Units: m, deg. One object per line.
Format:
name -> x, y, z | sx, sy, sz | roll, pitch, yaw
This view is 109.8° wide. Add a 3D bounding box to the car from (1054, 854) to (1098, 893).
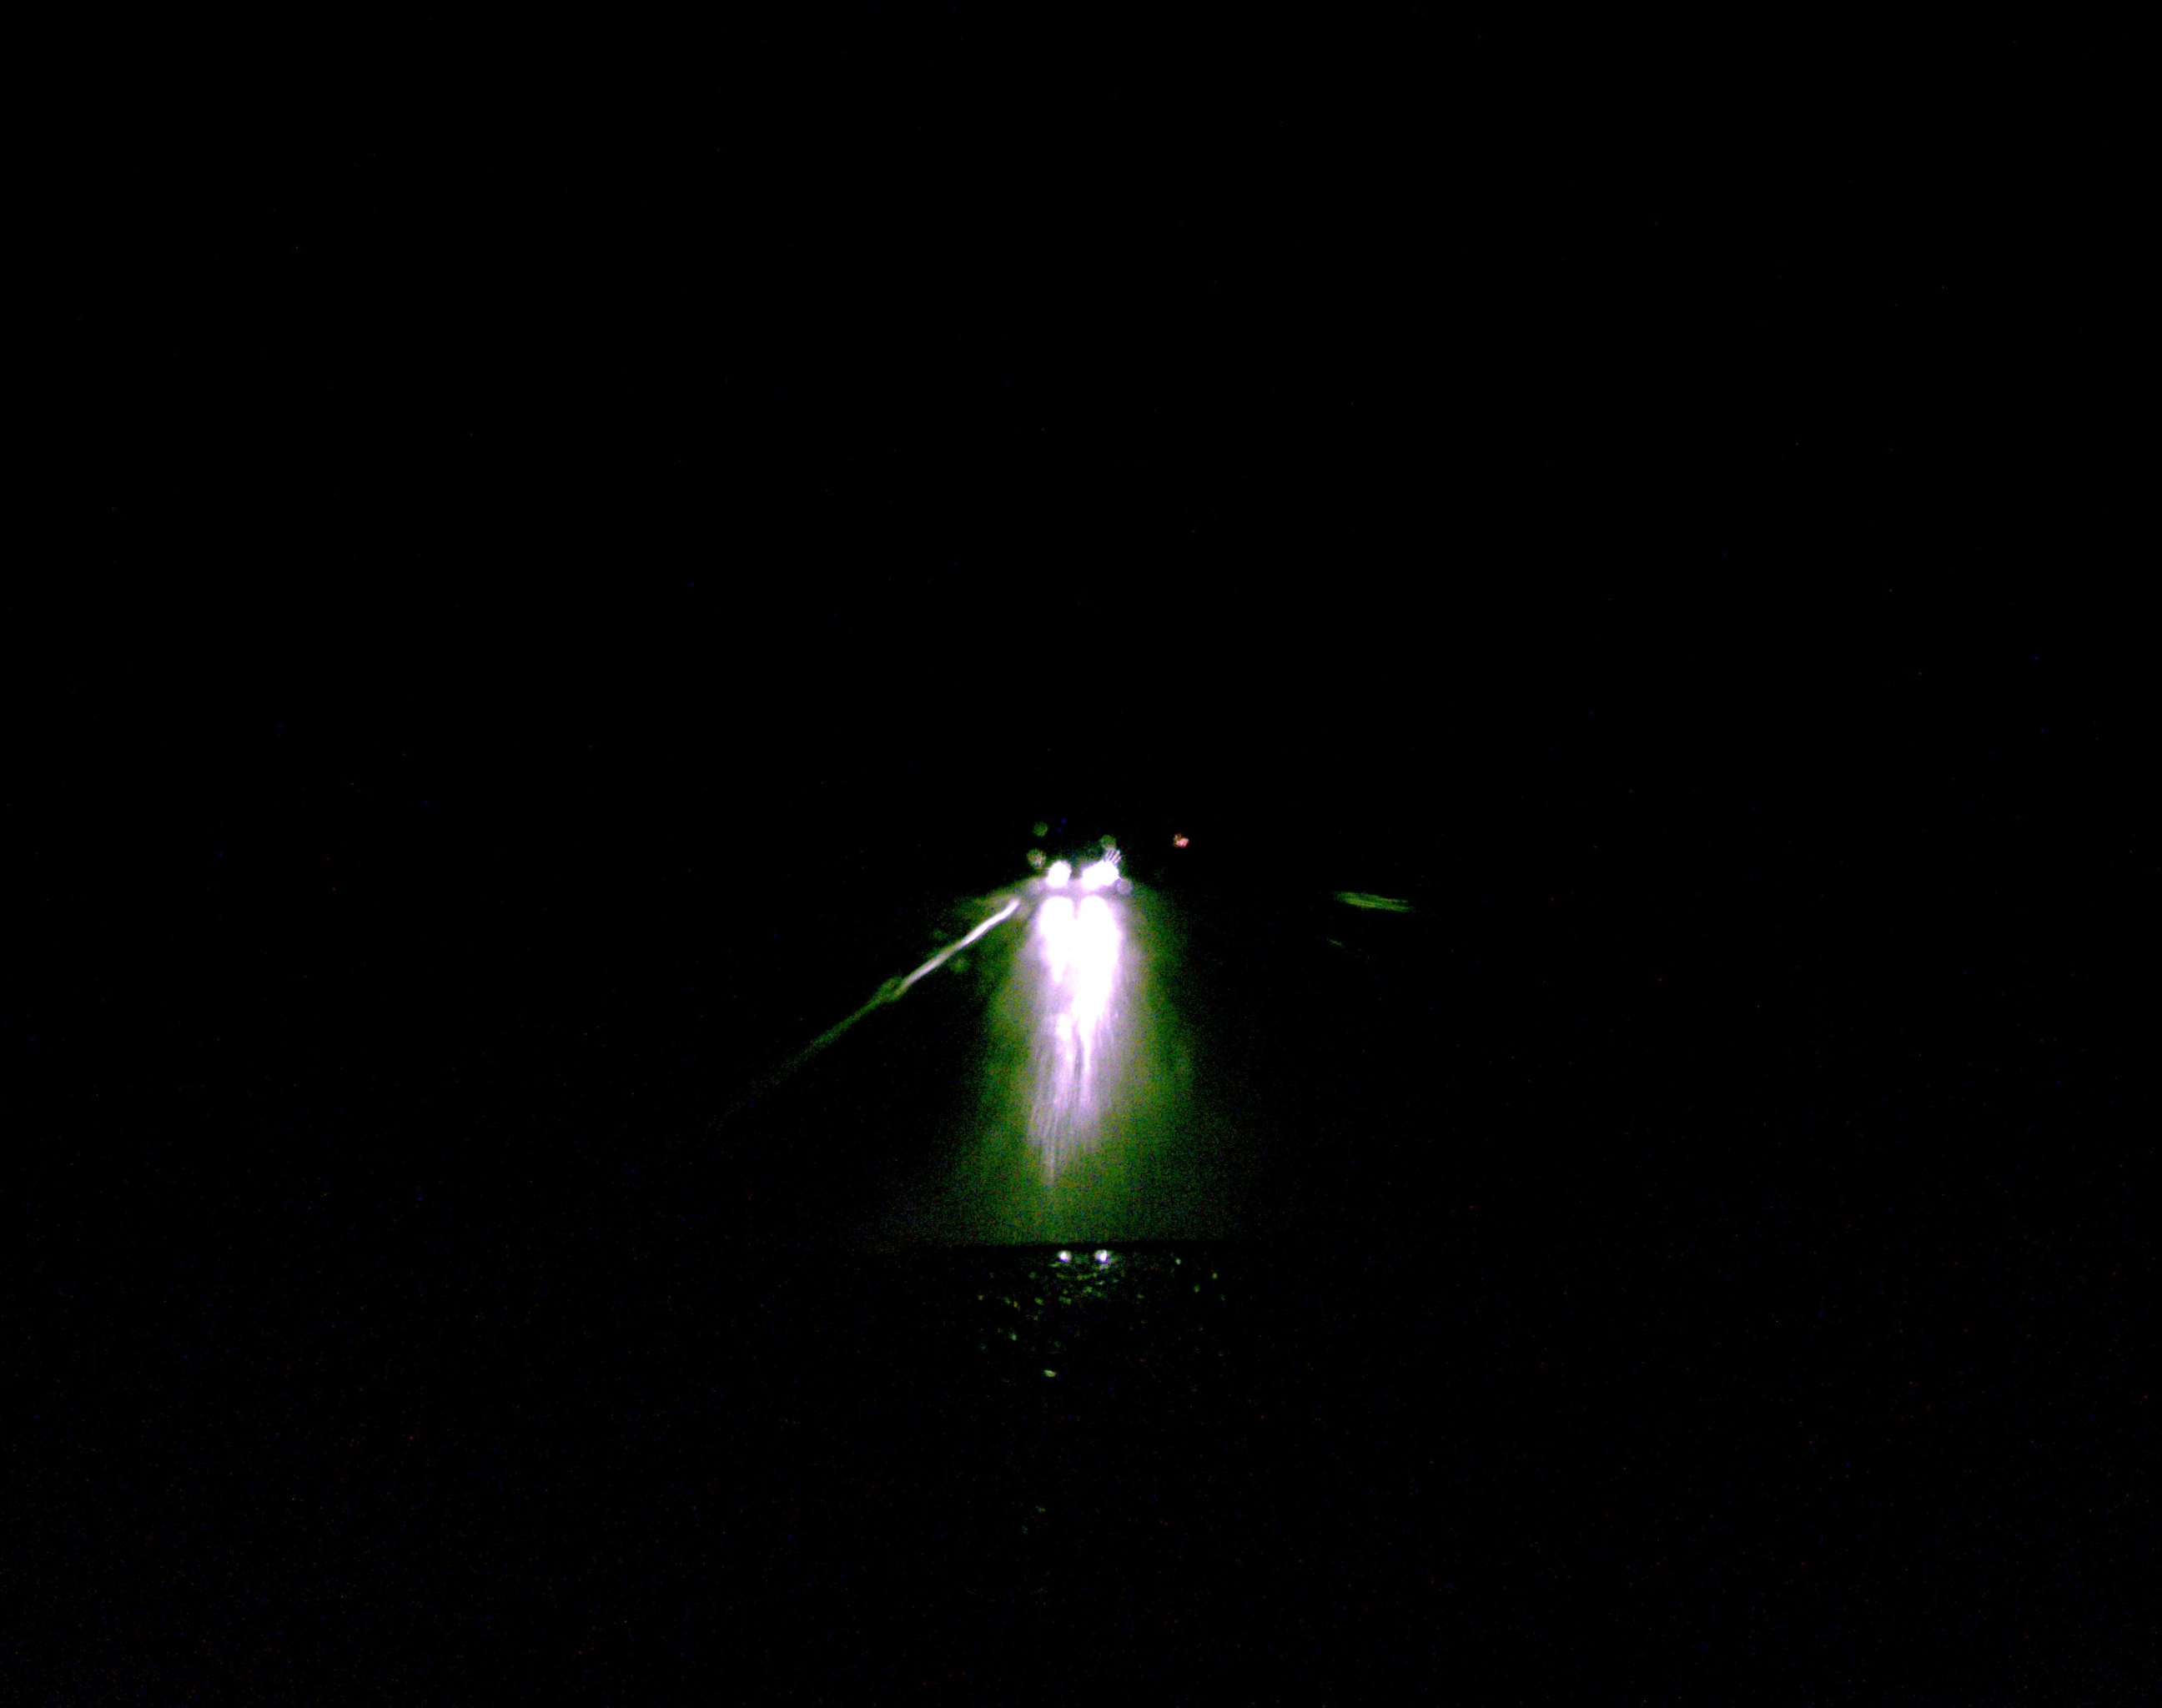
car -> -0.191, 0.823, 32.990 | 1.793, 1.593, 4.000 | 0, -1, 0
